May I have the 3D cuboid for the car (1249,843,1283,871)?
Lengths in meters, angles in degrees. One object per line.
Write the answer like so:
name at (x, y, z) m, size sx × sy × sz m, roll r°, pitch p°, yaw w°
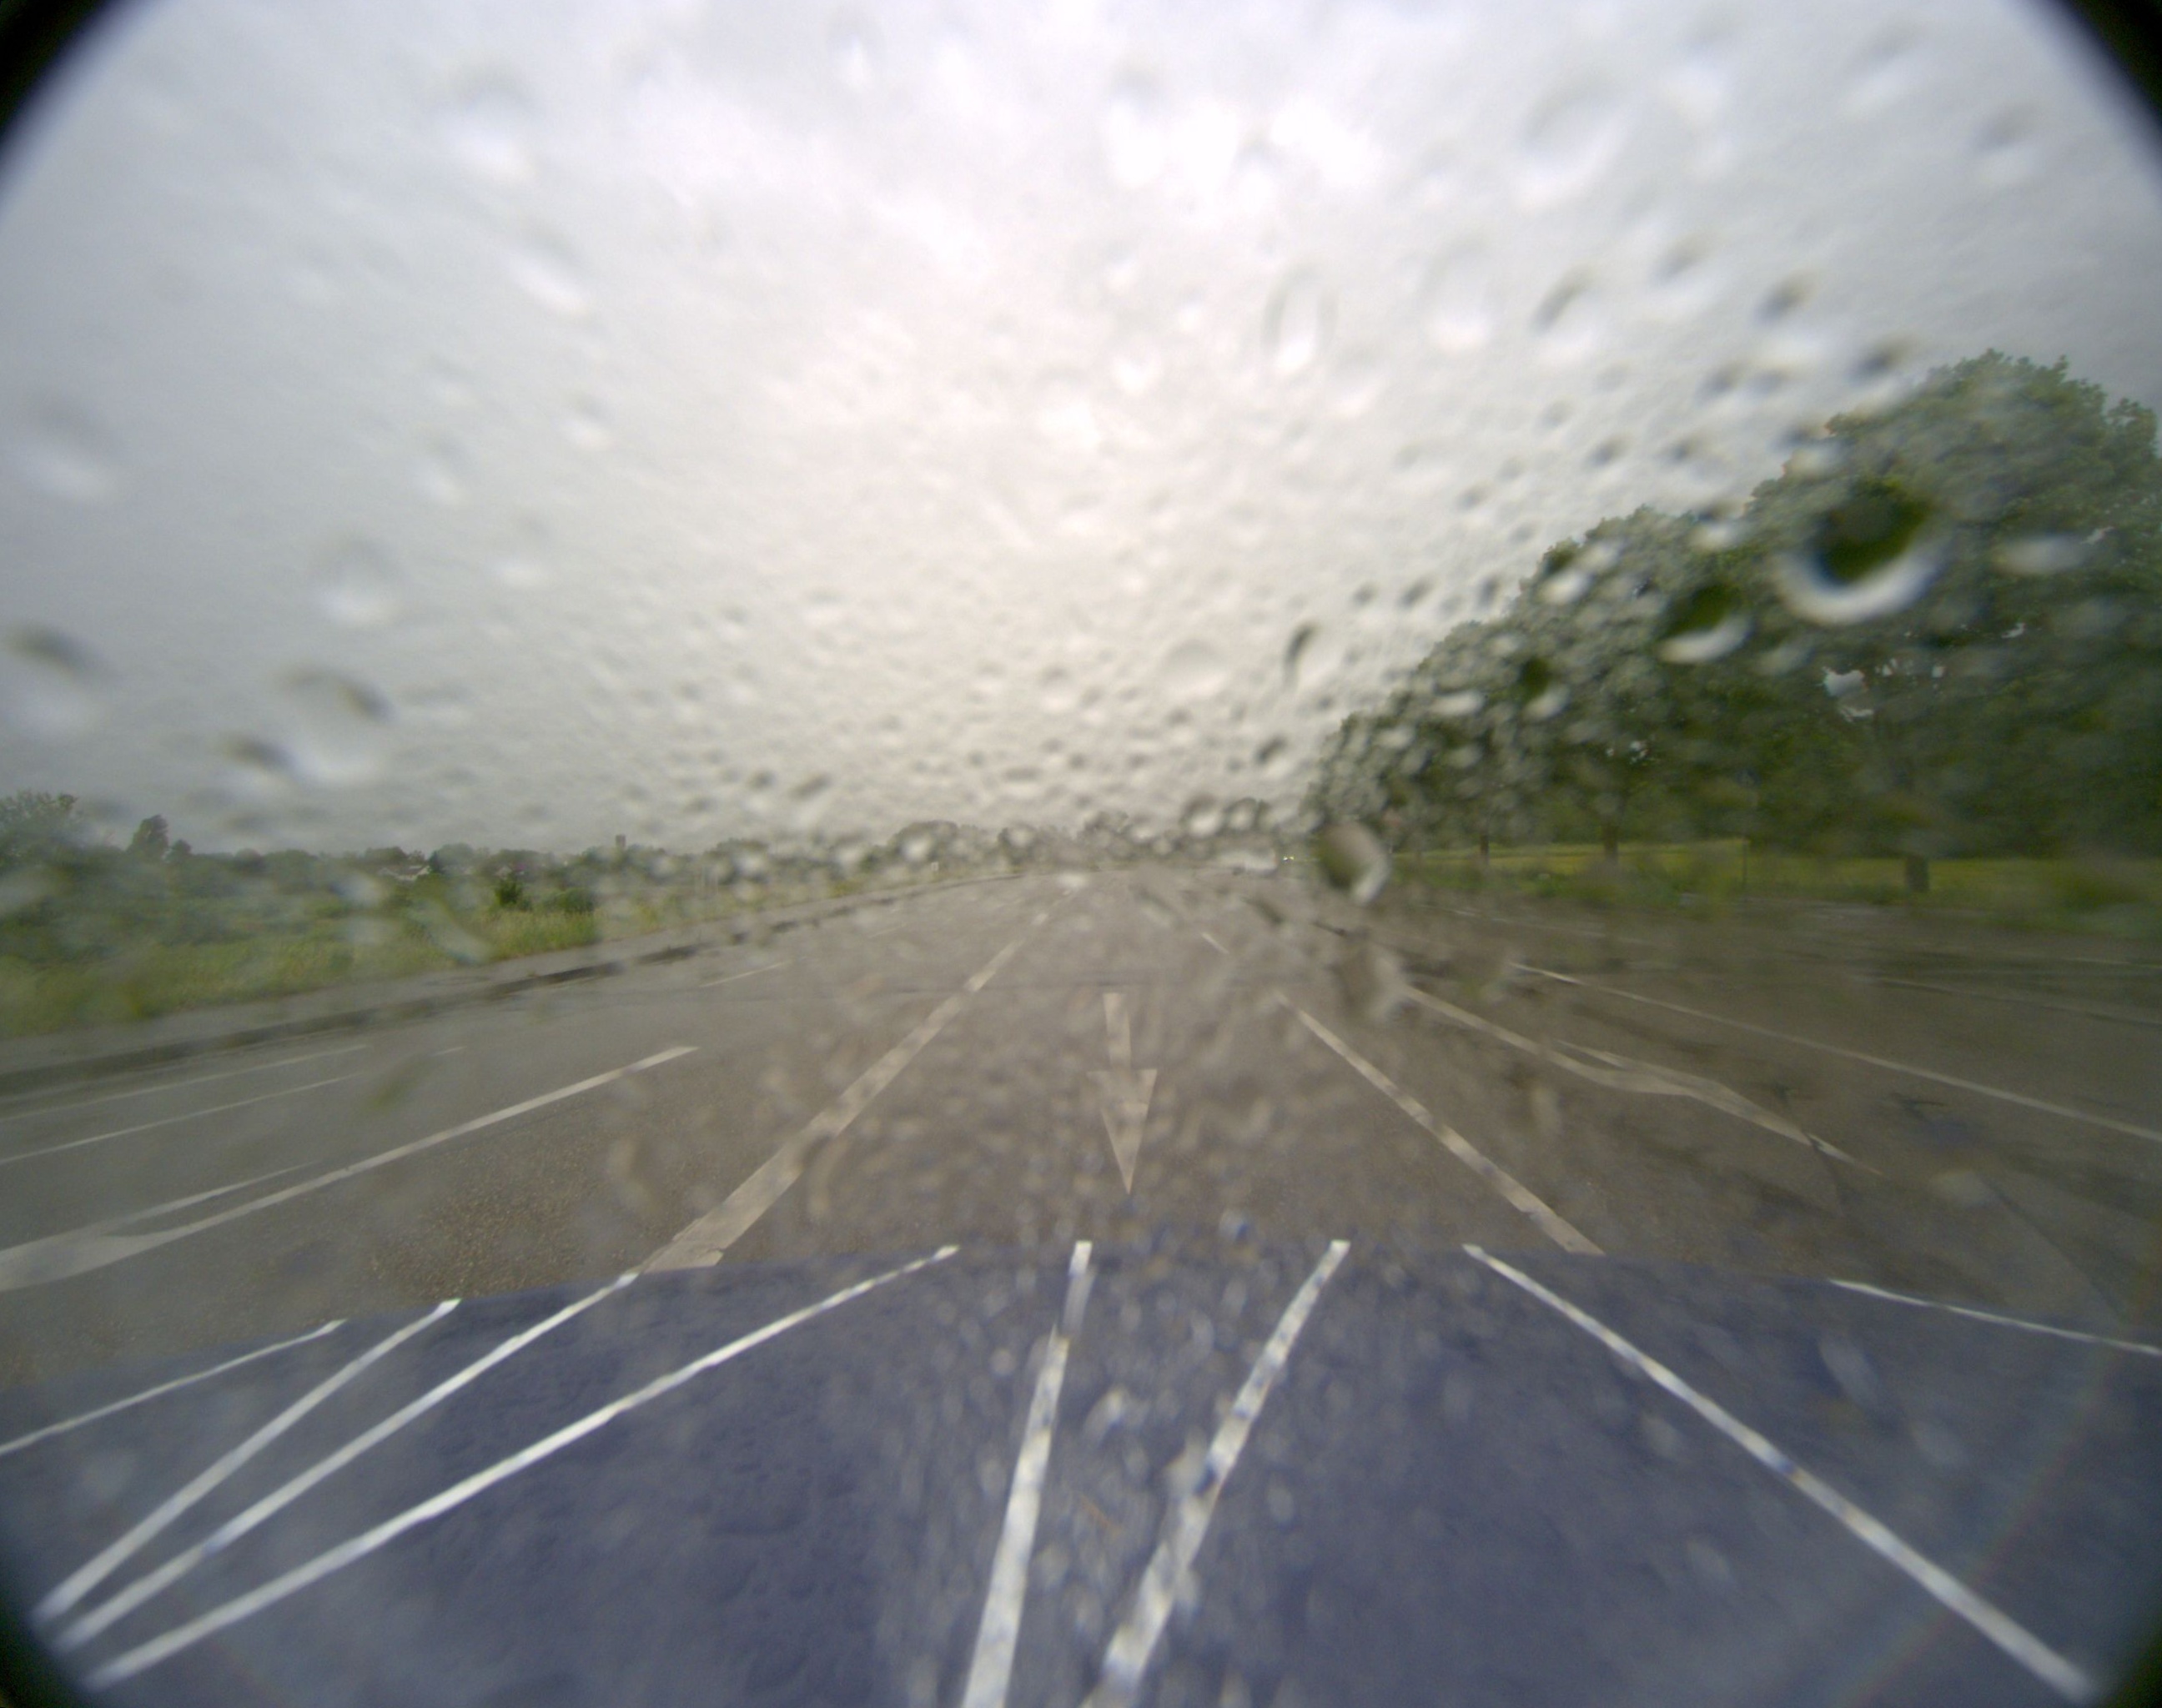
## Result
car at (13.426, 0.189, 55.364) m, size 2.110 × 1.881 × 4.794 m, roll -1°, pitch 0°, yaw 10°

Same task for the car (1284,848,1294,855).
car at (46.469, -0.514, 170.031) m, size 1.914 × 1.576 × 4.106 m, roll -2°, pitch 1°, yaw 11°
